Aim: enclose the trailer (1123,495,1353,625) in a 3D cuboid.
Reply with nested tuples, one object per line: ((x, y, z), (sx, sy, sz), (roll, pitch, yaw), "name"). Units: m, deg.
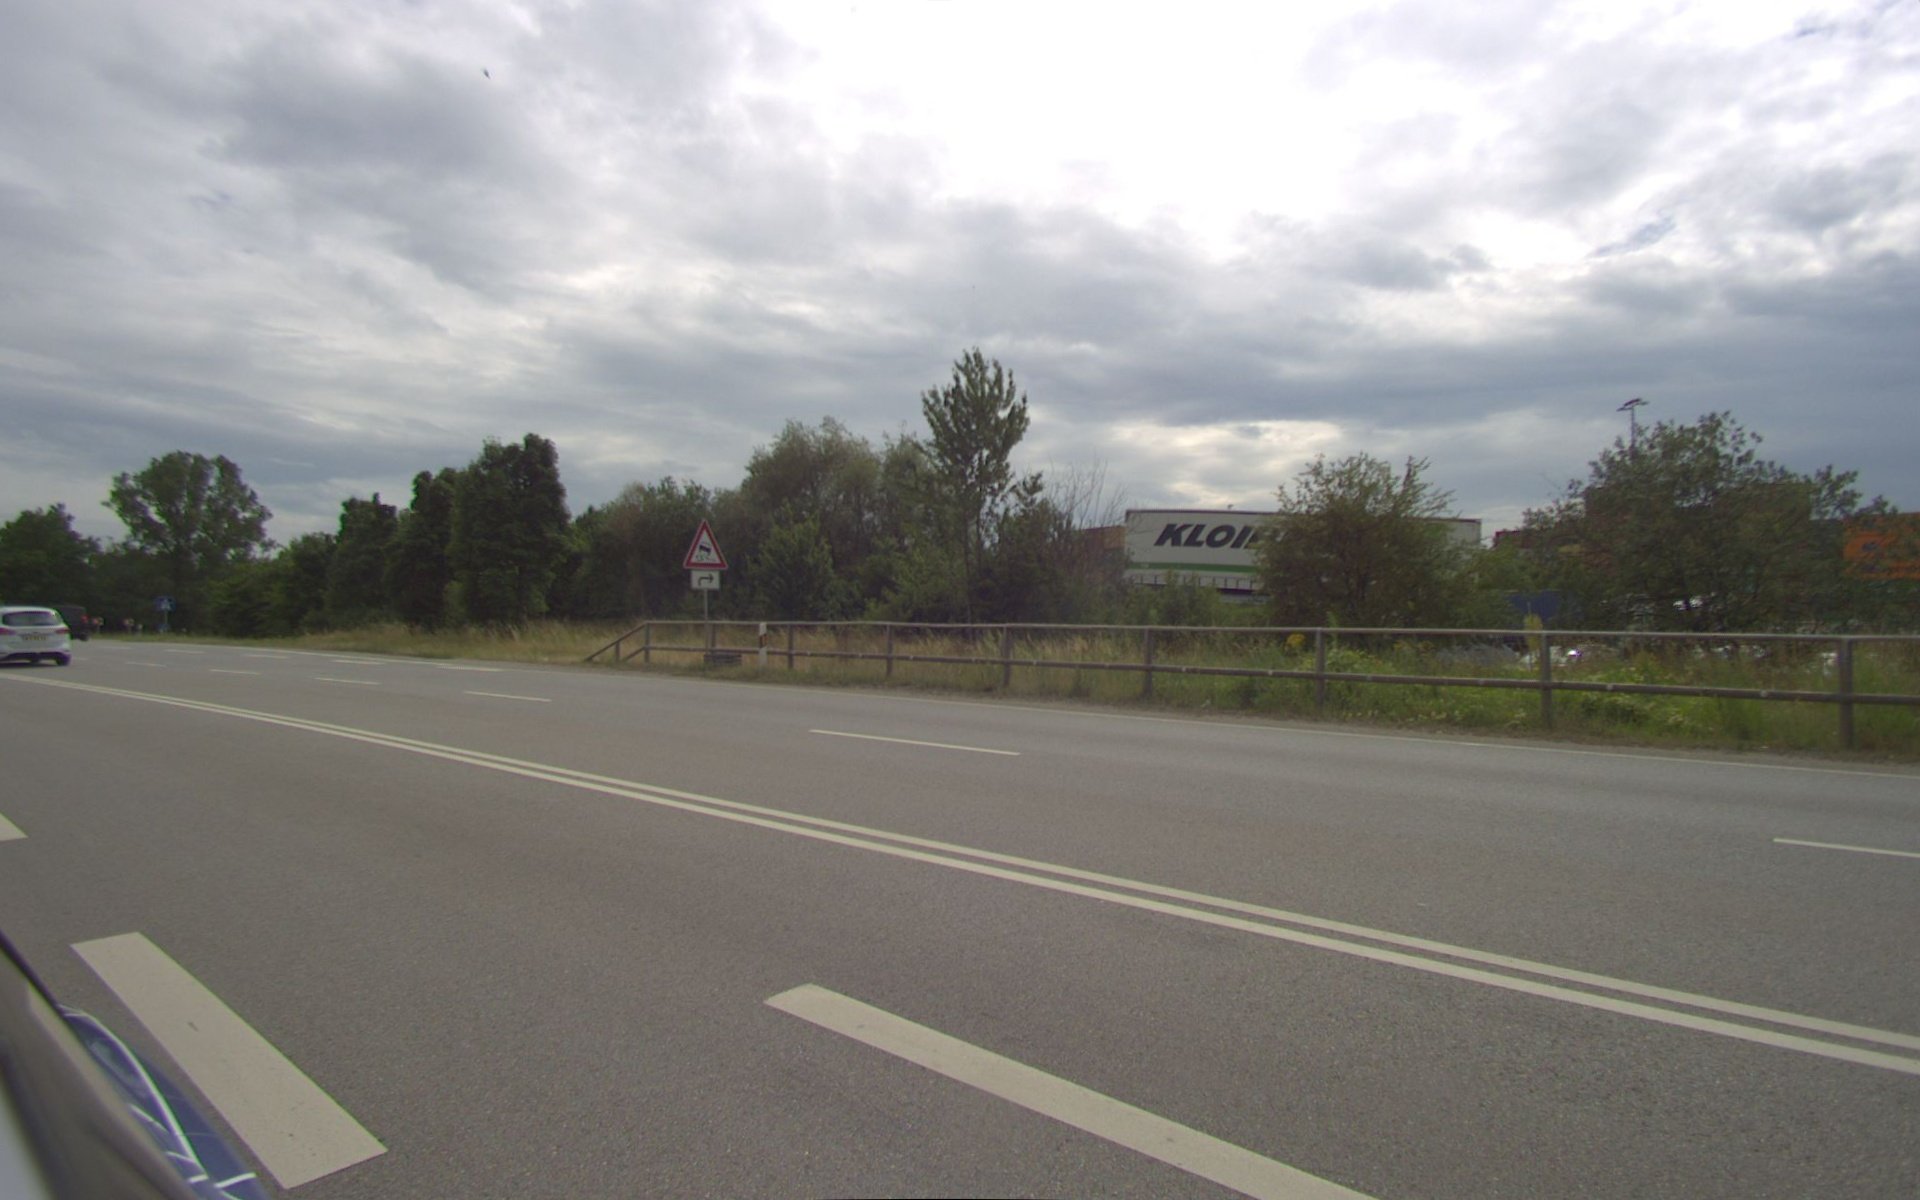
((11.502, -1.533, 42.325), (8.909, 5.034, 2.791), (-1, 0, 18), "trailer")

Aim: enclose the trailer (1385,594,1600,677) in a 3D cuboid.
((29.741, 1.960, 56.912), (10.369, 4.325, 3.207), (-1, -1, 32), "trailer")

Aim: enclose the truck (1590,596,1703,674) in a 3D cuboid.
((39.030, 1.954, 57.619), (4.788, 4.325, 2.197), (-1, -1, 2), "truck")

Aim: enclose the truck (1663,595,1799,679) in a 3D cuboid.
((40.927, 1.957, 53.826), (5.356, 4.325, 2.197), (-1, -1, 2), "truck")

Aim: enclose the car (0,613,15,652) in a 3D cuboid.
((-39.676, 1.309, 40.522), (3.732, 1.500, 1.862), (-1, -1, 33), "car")

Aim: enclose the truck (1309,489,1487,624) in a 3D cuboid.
((17.290, -1.622, 40.419), (6.138, 5.034, 2.788), (-1, 0, 18), "truck")

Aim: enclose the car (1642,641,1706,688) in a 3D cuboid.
((30.041, 2.672, 42.687), (1.837, 1.732, 3.958), (-1, -1, 30), "car")

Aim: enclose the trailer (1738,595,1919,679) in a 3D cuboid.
((46.838, 1.925, 53.647), (9.250, 4.325, 2.197), (-1, -1, 2), "trailer")

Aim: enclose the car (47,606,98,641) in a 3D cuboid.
((-47.176, 1.231, 53.827), (1.969, 1.811, 4.326), (0, -1, -41), "car")

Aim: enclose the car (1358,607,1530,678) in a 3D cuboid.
((14.117, 1.197, 29.558), (4.467, 1.890, 2.006), (-1, -1, -22), "car")

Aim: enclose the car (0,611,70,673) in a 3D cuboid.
((-25.522, 1.091, 27.089), (3.992, 1.529, 1.715), (-1, 1, 36), "car")
